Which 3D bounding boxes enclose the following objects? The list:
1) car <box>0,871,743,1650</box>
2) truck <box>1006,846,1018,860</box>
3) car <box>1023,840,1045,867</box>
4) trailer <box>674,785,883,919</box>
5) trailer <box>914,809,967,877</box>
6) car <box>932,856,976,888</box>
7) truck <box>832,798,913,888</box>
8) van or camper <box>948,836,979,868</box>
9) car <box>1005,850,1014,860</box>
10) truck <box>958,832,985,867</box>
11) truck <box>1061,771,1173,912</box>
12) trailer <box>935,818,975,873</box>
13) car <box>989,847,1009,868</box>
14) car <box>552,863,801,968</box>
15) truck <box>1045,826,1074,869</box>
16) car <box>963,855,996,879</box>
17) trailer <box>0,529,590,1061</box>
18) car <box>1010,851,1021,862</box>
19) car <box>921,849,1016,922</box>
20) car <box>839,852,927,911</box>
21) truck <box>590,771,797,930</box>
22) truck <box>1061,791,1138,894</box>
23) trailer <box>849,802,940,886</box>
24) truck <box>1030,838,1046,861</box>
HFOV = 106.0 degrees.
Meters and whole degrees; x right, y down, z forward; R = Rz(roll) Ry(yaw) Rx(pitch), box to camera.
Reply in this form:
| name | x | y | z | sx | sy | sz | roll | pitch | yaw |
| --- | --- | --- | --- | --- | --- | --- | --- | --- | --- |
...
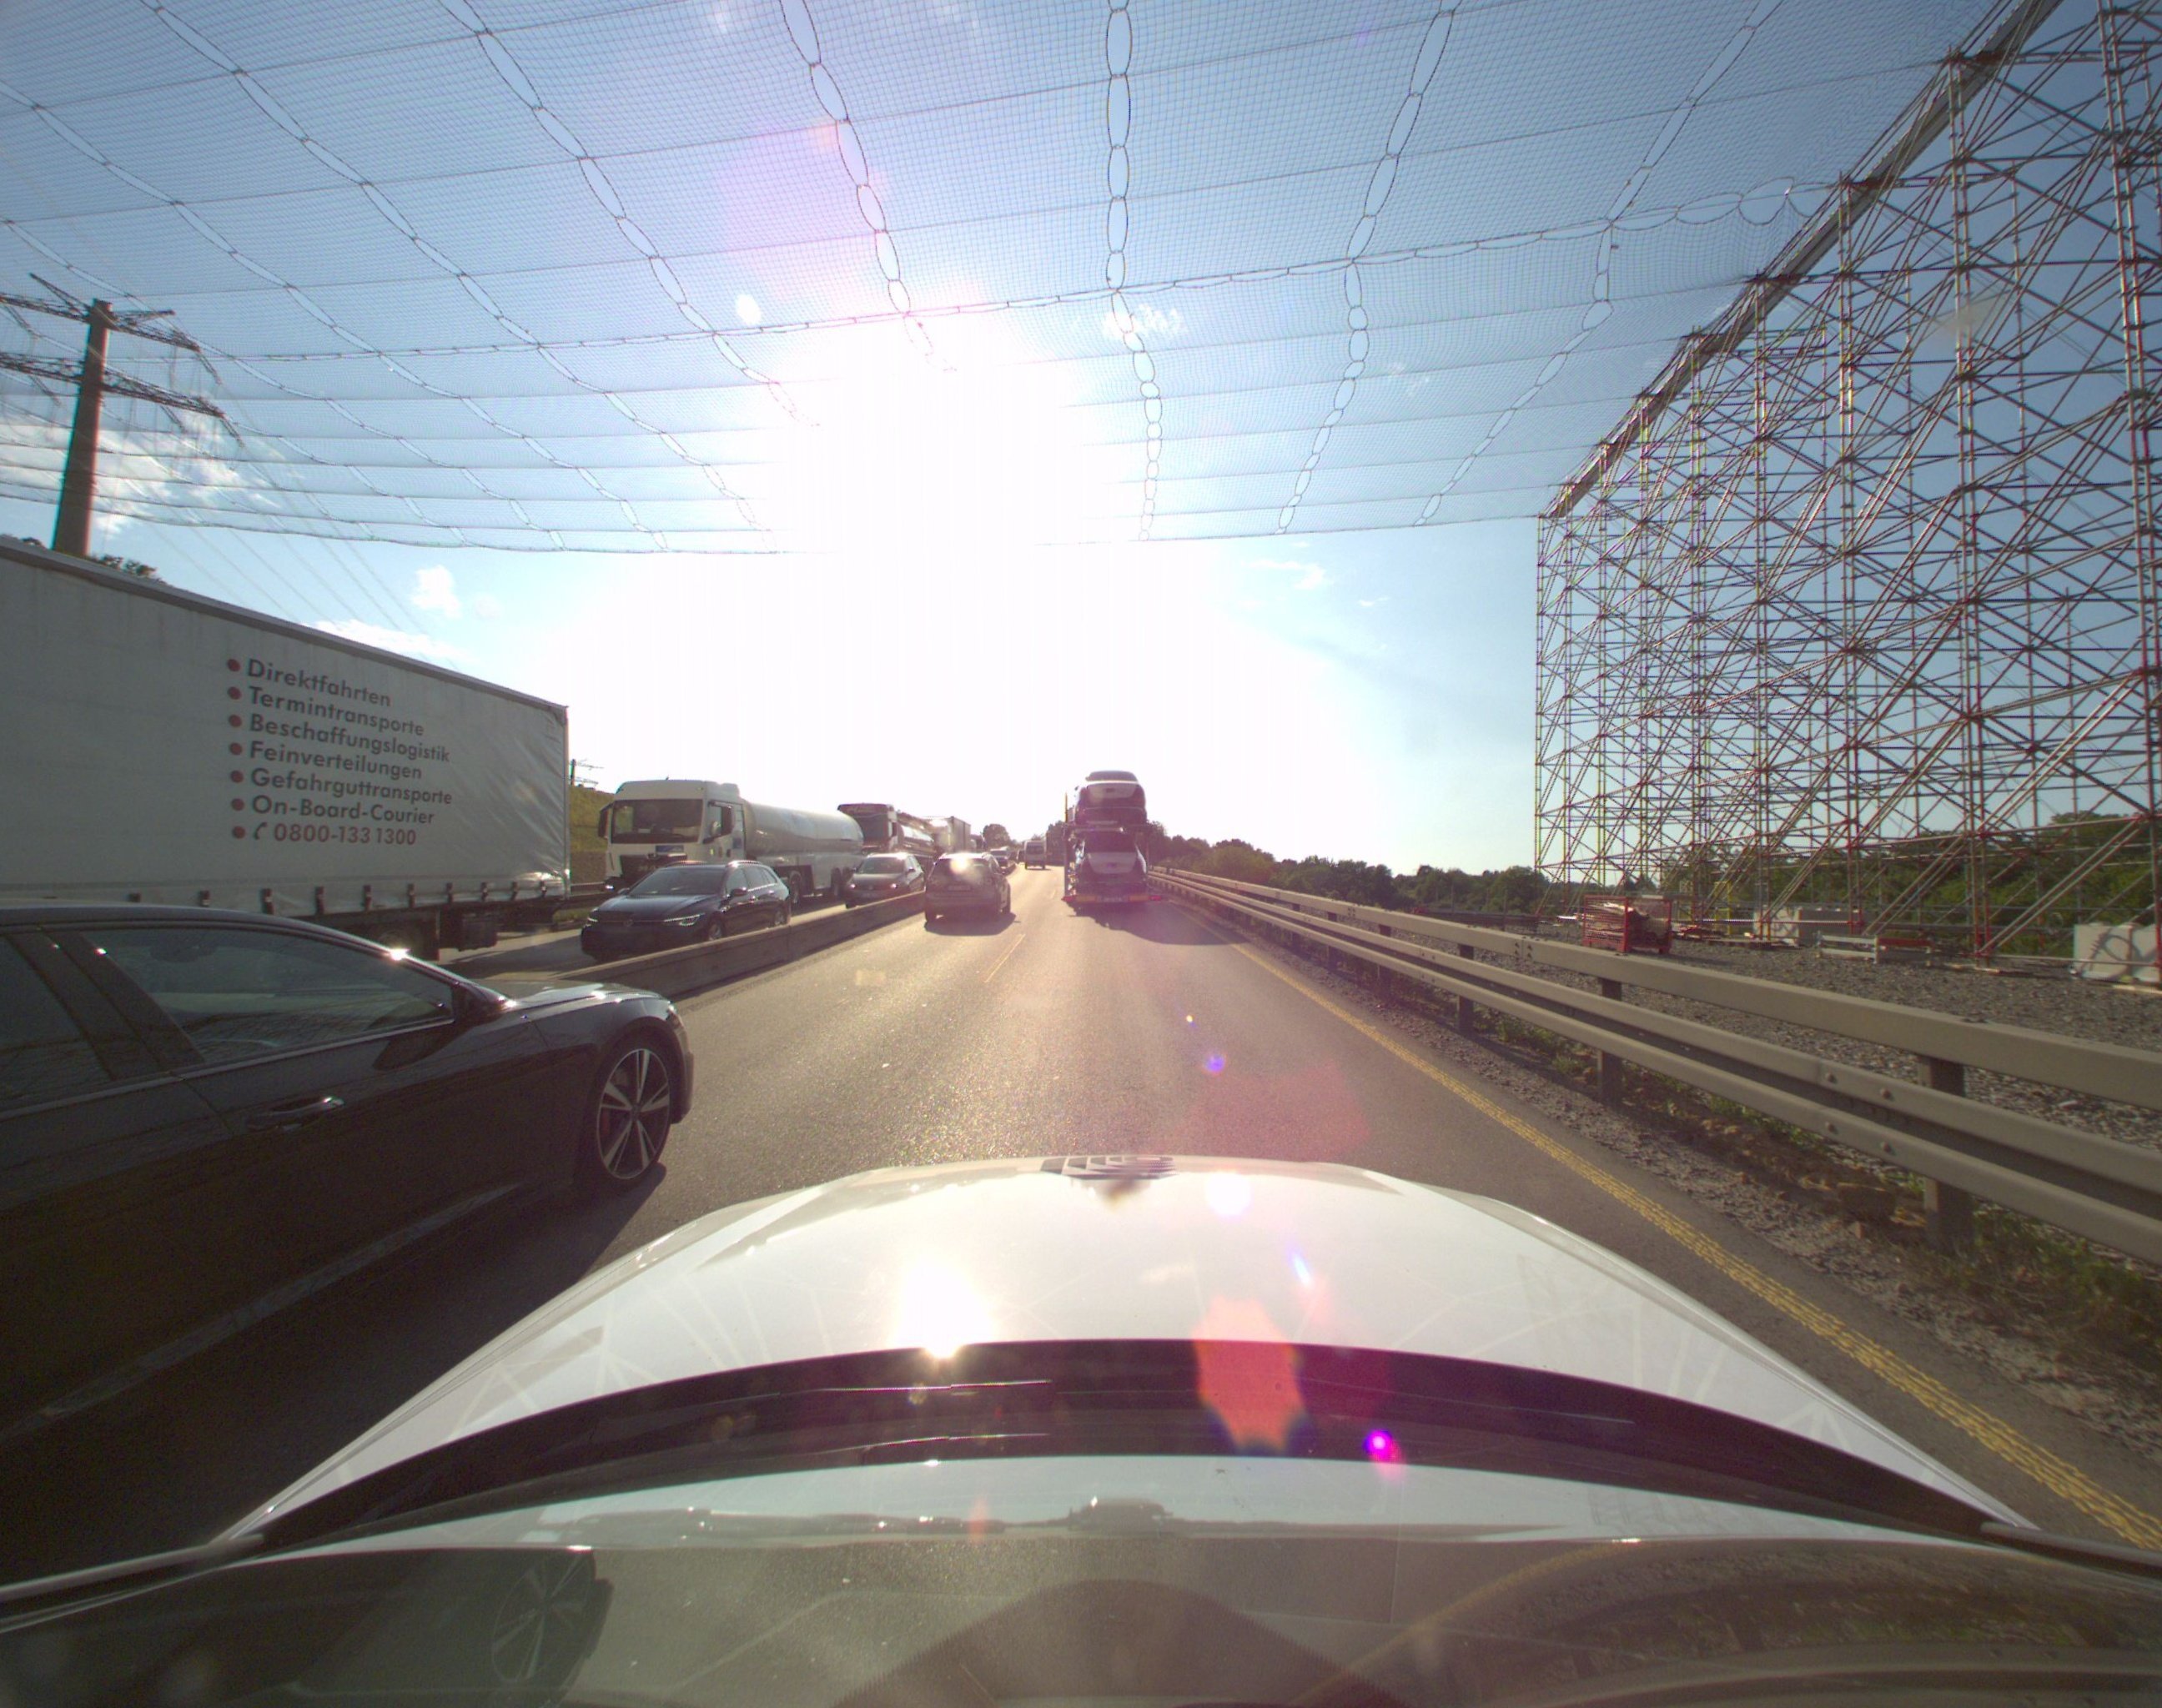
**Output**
| name | x | y | z | sx | sy | sz | roll | pitch | yaw |
| --- | --- | --- | --- | --- | --- | --- | --- | --- | --- |
| car | -2.994 | 0.812 | 2.222 | 1.927 | 1.398 | 4.963 | 0 | 0 | 2 |
| truck | -15.914 | -0.288 | 187.158 | 2.586 | 3.170 | 6.666 | -1 | 0 | -4 |
| car | -4.498 | -0.055 | 78.103 | 1.916 | 2.492 | 5.404 | -1 | 0 | -2 |
| trailer | -9.146 | -0.023 | 26.697 | 2.299 | 3.362 | 12.051 | -1 | 0 | 0 |
| trailer | -9.727 | -0.685 | 57.529 | 2.470 | 4.328 | 10.498 | -1 | 0 | -3 |
| car | -6.045 | 0.809 | 39.055 | 1.623 | 1.426 | 4.383 | -1 | 0 | -3 |
| truck | -9.386 | -0.472 | 37.245 | 2.426 | 3.785 | 5.612 | -1 | 0 | -2 |
| van or camper | -11.262 | -0.140 | 78.482 | 2.403 | 2.891 | 7.606 | -1 | 0 | -4 |
| car | -13.702 | 0.209 | 156.057 | 1.628 | 2.014 | 3.991 | -1 | 0 | -6 |
| truck | -12.338 | -0.482 | 92.258 | 2.597 | 3.754 | 6.505 | -1 | 0 | -5 |
| truck | 0.770 | -0.288 | 25.719 | 2.791 | 3.497 | 10.598 | -1 | 0 | -1 |
| trailer | -10.257 | -0.625 | 67.026 | 2.438 | 4.189 | 8.533 | -1 | 0 | -3 |
| car | -8.061 | 0.354 | 80.429 | 1.813 | 1.925 | 4.830 | -1 | 0 | -4 |
| car | -6.272 | 0.869 | 13.269 | 1.787 | 1.398 | 4.246 | -1 | 0 | 2 |
| truck | -2.831 | -0.826 | 104.771 | 3.279 | 5.237 | 9.922 | -1 | 0 | -4 |
| car | -6.420 | 0.803 | 51.848 | 1.623 | 1.426 | 4.654 | -1 | 0 | -2 |
| trailer | -9.253 | -0.430 | 6.195 | 2.419 | 3.963 | 14.097 | -1 | 0 | 0 |
| car | -11.266 | 0.449 | 140.490 | 1.822 | 1.772 | 3.996 | -1 | 0 | -2 |
| car | -2.675 | 0.715 | 20.208 | 1.685 | 1.596 | 4.001 | -1 | 0 | 1 |
| car | -5.810 | 0.769 | 24.314 | 1.746 | 1.587 | 3.940 | -1 | 0 | -2 |
| truck | -9.277 | -0.069 | 20.233 | 2.406 | 3.370 | 5.617 | -1 | 0 | 0 |
| truck | 0.562 | -0.395 | 35.149 | 2.830 | 3.792 | 9.980 | -1 | 0 | -2 |
| trailer | -9.514 | -0.440 | 42.975 | 2.301 | 3.790 | 12.044 | -1 | 0 | -2 |
| truck | -7.175 | -0.651 | 135.477 | 2.525 | 3.648 | 8.896 | -1 | 0 | -3 |
